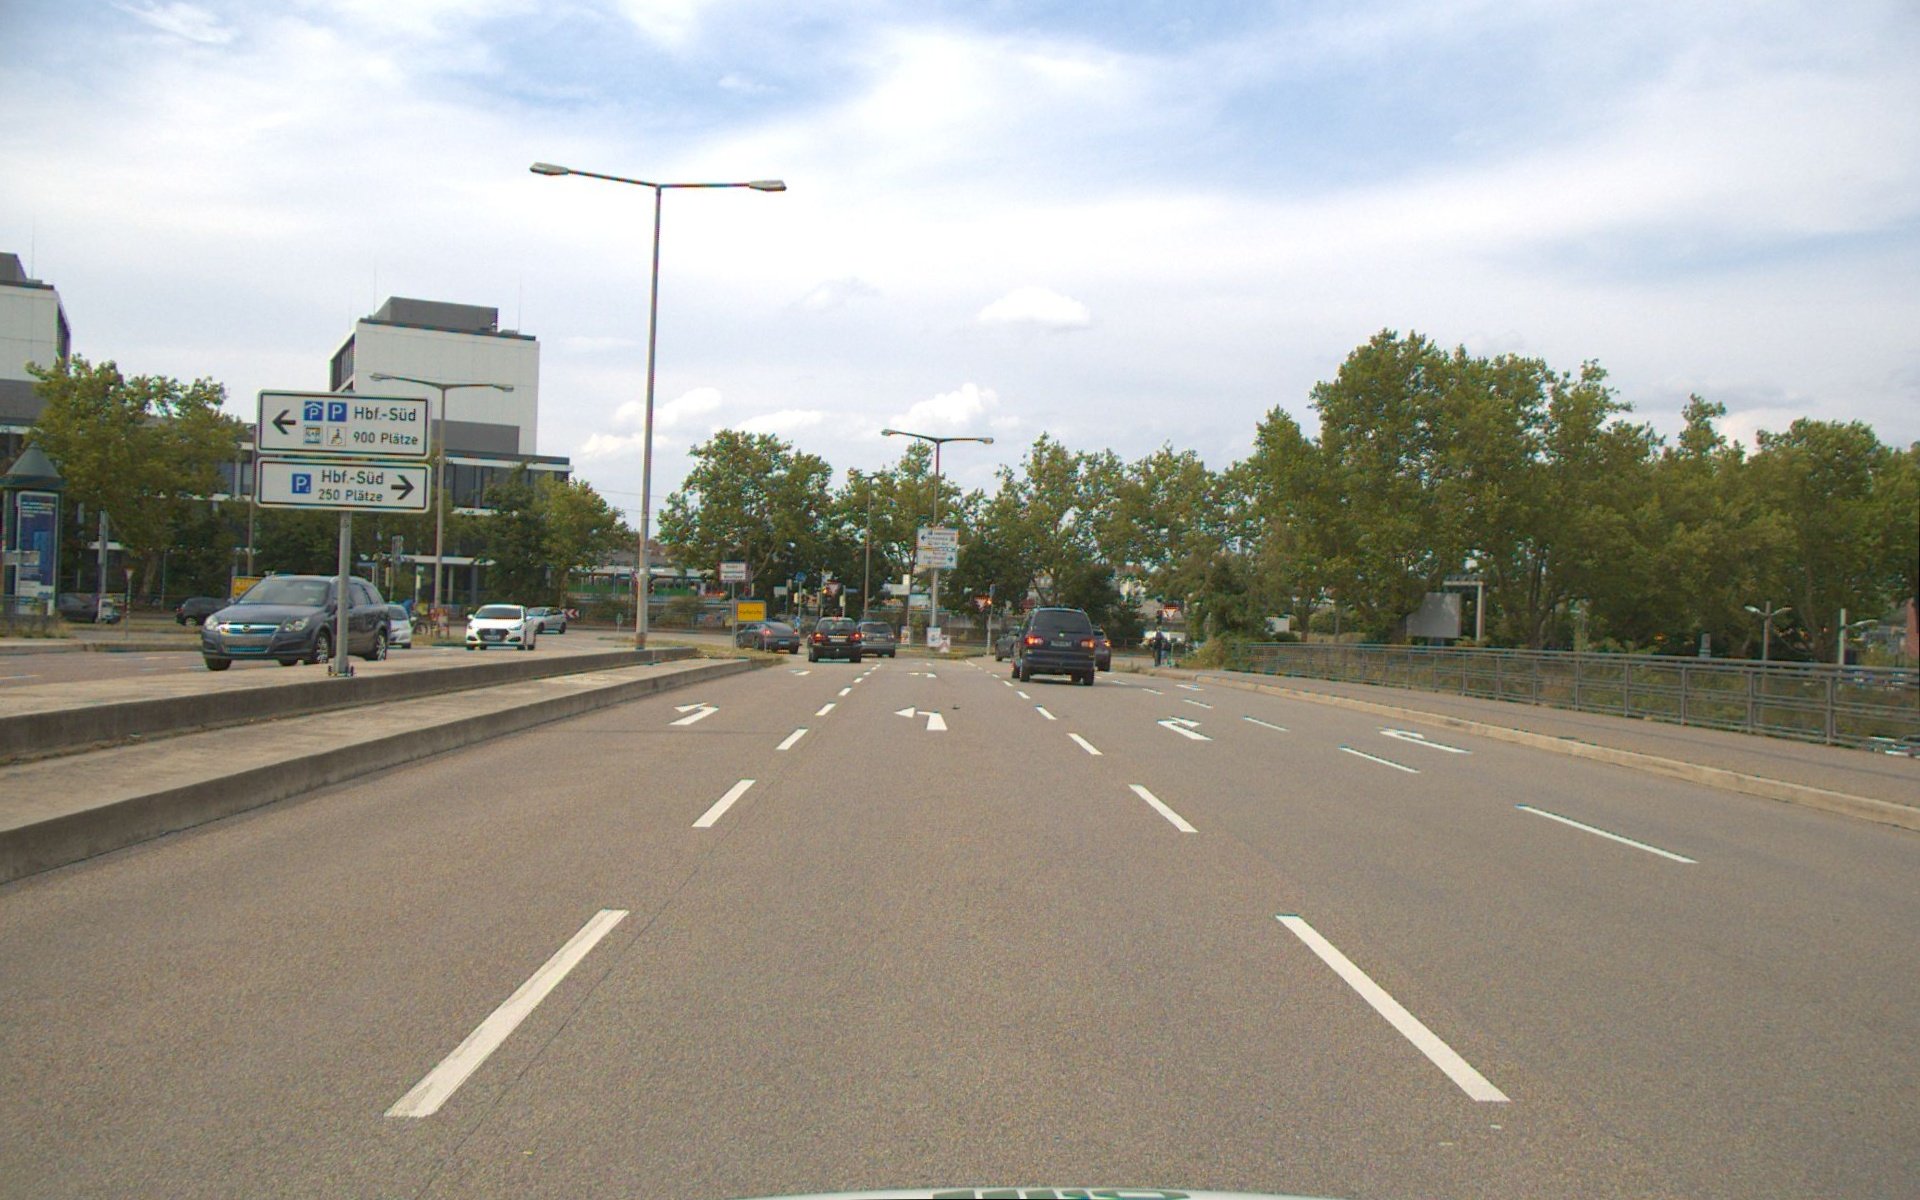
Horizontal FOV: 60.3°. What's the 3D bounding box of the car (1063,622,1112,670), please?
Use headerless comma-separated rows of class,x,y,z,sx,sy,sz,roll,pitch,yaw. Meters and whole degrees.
car,4.889,1.778,63.819,1.714,1.671,4.139,4,-2,3

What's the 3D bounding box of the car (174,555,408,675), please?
car,-10.397,0.216,26.122,1.849,1.668,4.583,2,0,-1

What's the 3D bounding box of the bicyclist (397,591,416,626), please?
bicyclist,-25.641,0.385,76.633,0.769,1.609,0.650,2,-1,-24

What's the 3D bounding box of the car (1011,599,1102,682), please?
car,2.246,0.967,39.487,1.715,1.755,4.135,4,-2,-2

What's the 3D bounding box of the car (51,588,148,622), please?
car,-40.672,0.252,78.277,4.008,1.476,1.688,2,-1,-27

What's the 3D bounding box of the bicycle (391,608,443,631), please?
bicycle,-24.295,0.874,74.033,0.794,0.969,2.230,1,-1,31

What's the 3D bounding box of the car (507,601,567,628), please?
car,-23.161,0.825,90.726,1.581,1.435,3.863,0,-1,13

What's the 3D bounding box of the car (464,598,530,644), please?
car,-15.177,0.662,54.054,1.889,1.440,4.857,1,0,-18

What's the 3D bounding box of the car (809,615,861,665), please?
car,-4.446,1.403,59.023,1.722,1.603,4.033,3,0,-4

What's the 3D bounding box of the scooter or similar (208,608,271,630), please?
scooter or similar,-30.523,0.797,70.106,0.791,0.864,2.380,2,0,32

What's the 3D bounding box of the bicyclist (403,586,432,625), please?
bicyclist,-24.273,0.241,74.060,0.794,1.685,0.882,1,-1,31

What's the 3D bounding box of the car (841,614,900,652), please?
car,-3.966,1.442,72.923,1.713,1.573,4.064,2,-1,-16

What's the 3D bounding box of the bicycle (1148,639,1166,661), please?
bicycle,9.474,2.397,79.511,0.792,0.969,2.237,1,-1,9

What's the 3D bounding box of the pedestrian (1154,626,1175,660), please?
pedestrian,10.980,2.301,88.860,1.025,1.740,0.854,3,-1,9

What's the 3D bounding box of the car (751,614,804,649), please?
car,-8.335,1.401,75.226,1.787,1.439,4.760,2,-1,-13

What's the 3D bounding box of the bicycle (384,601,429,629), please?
bicycle,-25.646,0.707,76.646,1.876,1.231,0.638,2,0,-24

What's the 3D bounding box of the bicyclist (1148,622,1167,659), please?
bicyclist,9.494,1.941,79.543,0.793,1.726,1.116,1,-1,9

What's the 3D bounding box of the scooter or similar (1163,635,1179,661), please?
scooter or similar,9.766,2.216,76.727,0.389,1.204,1.278,2,-2,-8

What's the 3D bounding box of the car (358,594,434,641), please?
car,-19.530,0.576,57.153,1.895,1.553,4.840,1,0,-26

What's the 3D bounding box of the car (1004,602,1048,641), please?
car,2.916,0.977,74.000,1.656,1.613,4.155,4,-1,-1

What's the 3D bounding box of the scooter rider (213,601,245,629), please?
scooter rider,-30.793,0.631,69.677,0.791,1.157,0.914,2,0,32
